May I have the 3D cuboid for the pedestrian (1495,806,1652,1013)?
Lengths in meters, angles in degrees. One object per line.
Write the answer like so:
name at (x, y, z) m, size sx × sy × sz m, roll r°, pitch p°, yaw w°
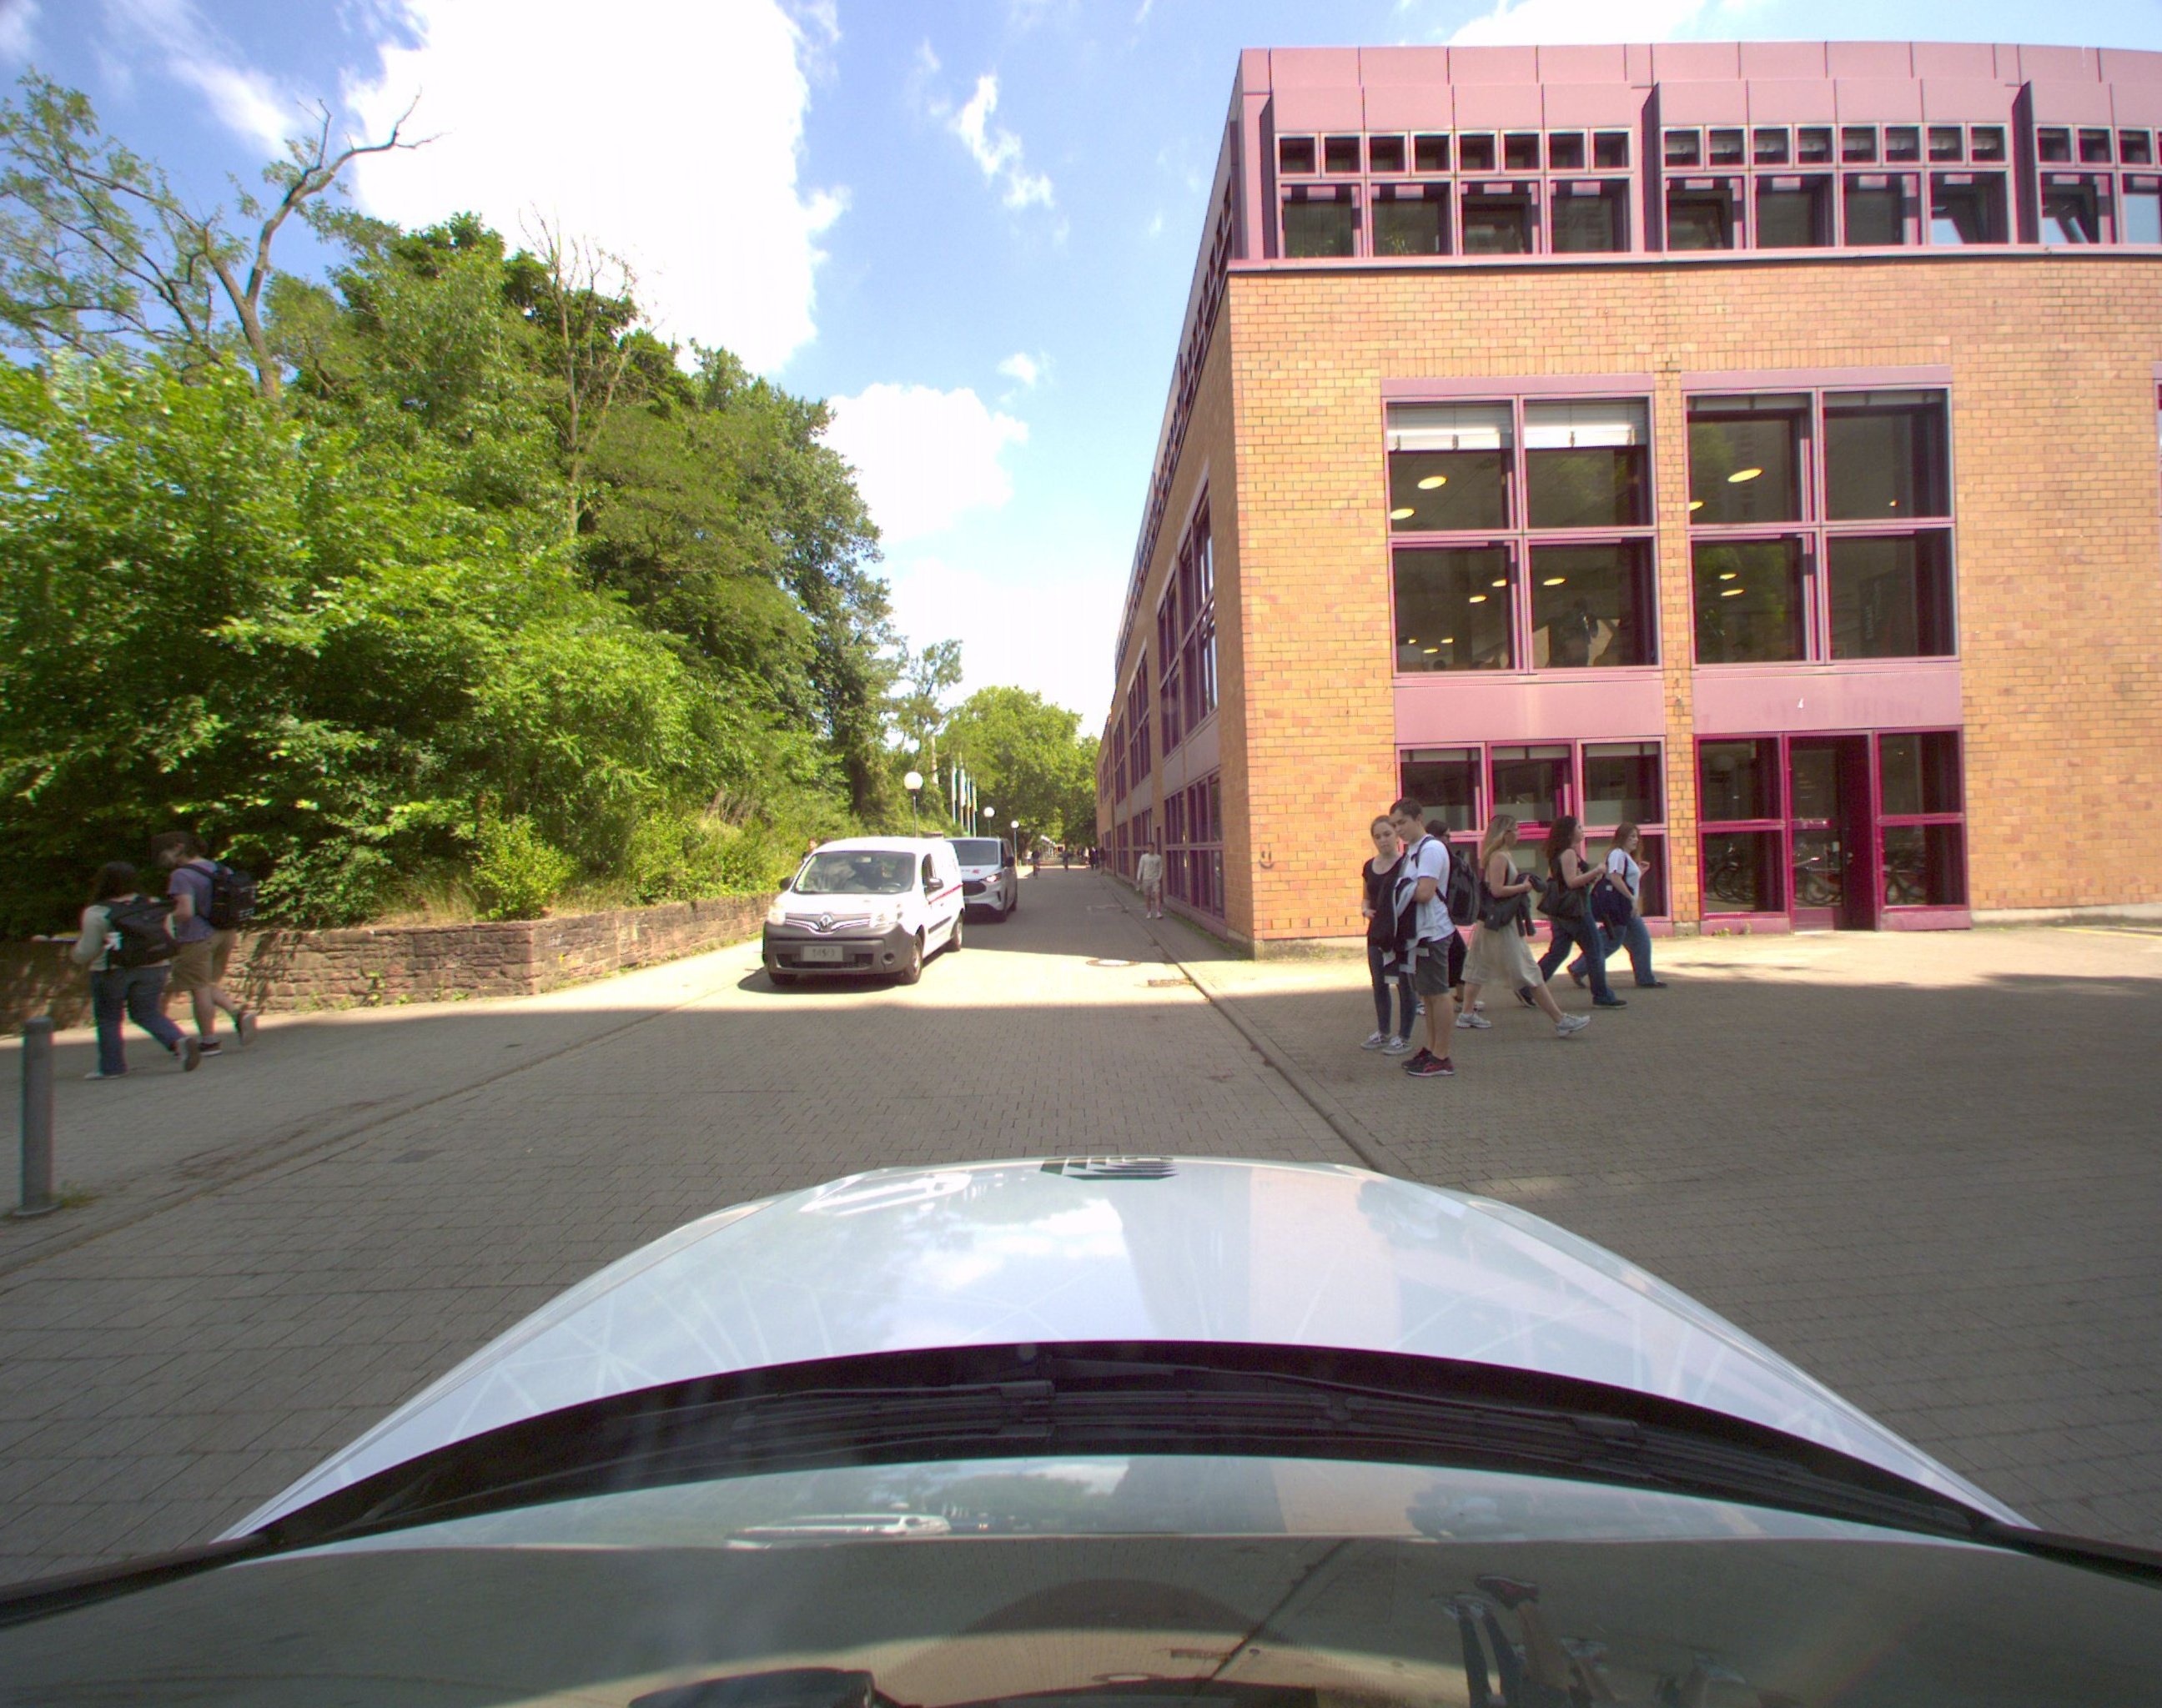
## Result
pedestrian at (4.190, 0.466, 6.984) m, size 0.924 × 1.672 × 0.589 m, roll -2°, pitch -1°, yaw 6°

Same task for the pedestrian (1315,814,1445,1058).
pedestrian at (2.165, 0.575, 5.968) m, size 0.693 × 1.672 × 0.589 m, roll -3°, pitch -1°, yaw 6°

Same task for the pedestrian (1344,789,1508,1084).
pedestrian at (2.218, 0.517, 5.323) m, size 0.762 × 1.794 × 0.589 m, roll -3°, pitch -1°, yaw 6°

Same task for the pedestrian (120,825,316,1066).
pedestrian at (-7.111, 0.718, 6.751) m, size 0.824 × 1.844 × 0.684 m, roll -3°, pitch -1°, yaw -3°

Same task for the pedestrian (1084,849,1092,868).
pedestrian at (0.714, 0.423, 84.236) m, size 0.651 × 1.922 × 0.817 m, roll -3°, pitch -1°, yaw 0°

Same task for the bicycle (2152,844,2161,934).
bicycle at (14.187, 0.423, 9.870) m, size 1.805 × 1.110 × 0.523 m, roll 0°, pitch -1°, yaw -3°

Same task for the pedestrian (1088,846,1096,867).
pedestrian at (0.859, 0.200, 63.534) m, size 0.584 × 1.672 × 0.817 m, roll -3°, pitch -1°, yaw 1°

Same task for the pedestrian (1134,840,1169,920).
pedestrian at (1.568, 0.577, 18.292) m, size 0.680 × 1.747 × 0.783 m, roll -1°, pitch -1°, yaw -1°

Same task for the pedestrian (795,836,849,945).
pedestrian at (-4.532, 0.619, 14.278) m, size 0.680 × 1.844 × 0.783 m, roll -1°, pitch -1°, yaw -1°

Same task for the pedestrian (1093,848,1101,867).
pedestrian at (1.655, 0.344, 84.258) m, size 0.651 × 1.922 × 0.817 m, roll -3°, pitch -1°, yaw 0°

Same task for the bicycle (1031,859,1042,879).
bicycle at (-2.547, 0.850, 46.933) m, size 0.586 × 1.083 × 1.811 m, roll -1°, pitch 0°, yaw -4°

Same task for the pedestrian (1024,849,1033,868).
pedestrian at (-4.801, 0.390, 74.372) m, size 0.722 × 1.672 × 0.748 m, roll -3°, pitch -1°, yaw 0°

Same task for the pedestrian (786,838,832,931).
pedestrian at (-5.572, 0.612, 16.716) m, size 0.680 × 1.844 × 0.783 m, roll -1°, pitch -1°, yaw -1°

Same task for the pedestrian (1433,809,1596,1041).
pedestrian at (3.315, 0.535, 6.294) m, size 0.881 × 1.672 × 0.560 m, roll -3°, pitch -1°, yaw 6°

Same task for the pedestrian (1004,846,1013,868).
pedestrian at (-5.728, 0.264, 64.242) m, size 0.584 × 1.672 × 0.699 m, roll -3°, pitch -1°, yaw 0°

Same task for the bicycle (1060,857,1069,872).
bicycle at (-1.238, 0.788, 60.486) m, size 0.586 × 1.083 × 1.905 m, roll -1°, pitch 0°, yaw -4°

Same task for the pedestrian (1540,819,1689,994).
pedestrian at (5.052, 0.478, 7.769) m, size 0.881 × 1.542 × 0.744 m, roll -4°, pitch 0°, yaw 6°

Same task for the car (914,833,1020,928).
car at (-2.623, 0.561, 19.954) m, size 1.878 × 1.974 × 5.212 m, roll -1°, pitch 0°, yaw -1°

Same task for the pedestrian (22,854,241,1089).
pedestrian at (-7.081, 0.830, 6.112) m, size 0.779 × 1.620 × 0.684 m, roll -3°, pitch -1°, yaw -3°

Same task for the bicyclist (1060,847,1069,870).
bicyclist at (-1.252, 0.318, 60.502) m, size 0.586 × 1.716 × 0.664 m, roll -1°, pitch 0°, yaw -4°

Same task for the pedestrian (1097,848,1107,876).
pedestrian at (1.286, 0.480, 49.954) m, size 0.584 × 1.672 × 0.699 m, roll -3°, pitch -1°, yaw 0°

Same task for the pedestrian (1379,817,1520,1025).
pedestrian at (3.146, 0.548, 7.016) m, size 0.881 × 1.672 × 0.644 m, roll -3°, pitch 1°, yaw 6°

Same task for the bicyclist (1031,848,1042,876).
bicyclist at (-2.553, 0.467, 46.903) m, size 0.586 × 1.573 × 0.828 m, roll -1°, pitch 0°, yaw -4°

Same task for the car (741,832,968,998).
car at (-2.806, 0.667, 11.198) m, size 1.784 × 1.761 × 4.481 m, roll -2°, pitch 0°, yaw 0°
